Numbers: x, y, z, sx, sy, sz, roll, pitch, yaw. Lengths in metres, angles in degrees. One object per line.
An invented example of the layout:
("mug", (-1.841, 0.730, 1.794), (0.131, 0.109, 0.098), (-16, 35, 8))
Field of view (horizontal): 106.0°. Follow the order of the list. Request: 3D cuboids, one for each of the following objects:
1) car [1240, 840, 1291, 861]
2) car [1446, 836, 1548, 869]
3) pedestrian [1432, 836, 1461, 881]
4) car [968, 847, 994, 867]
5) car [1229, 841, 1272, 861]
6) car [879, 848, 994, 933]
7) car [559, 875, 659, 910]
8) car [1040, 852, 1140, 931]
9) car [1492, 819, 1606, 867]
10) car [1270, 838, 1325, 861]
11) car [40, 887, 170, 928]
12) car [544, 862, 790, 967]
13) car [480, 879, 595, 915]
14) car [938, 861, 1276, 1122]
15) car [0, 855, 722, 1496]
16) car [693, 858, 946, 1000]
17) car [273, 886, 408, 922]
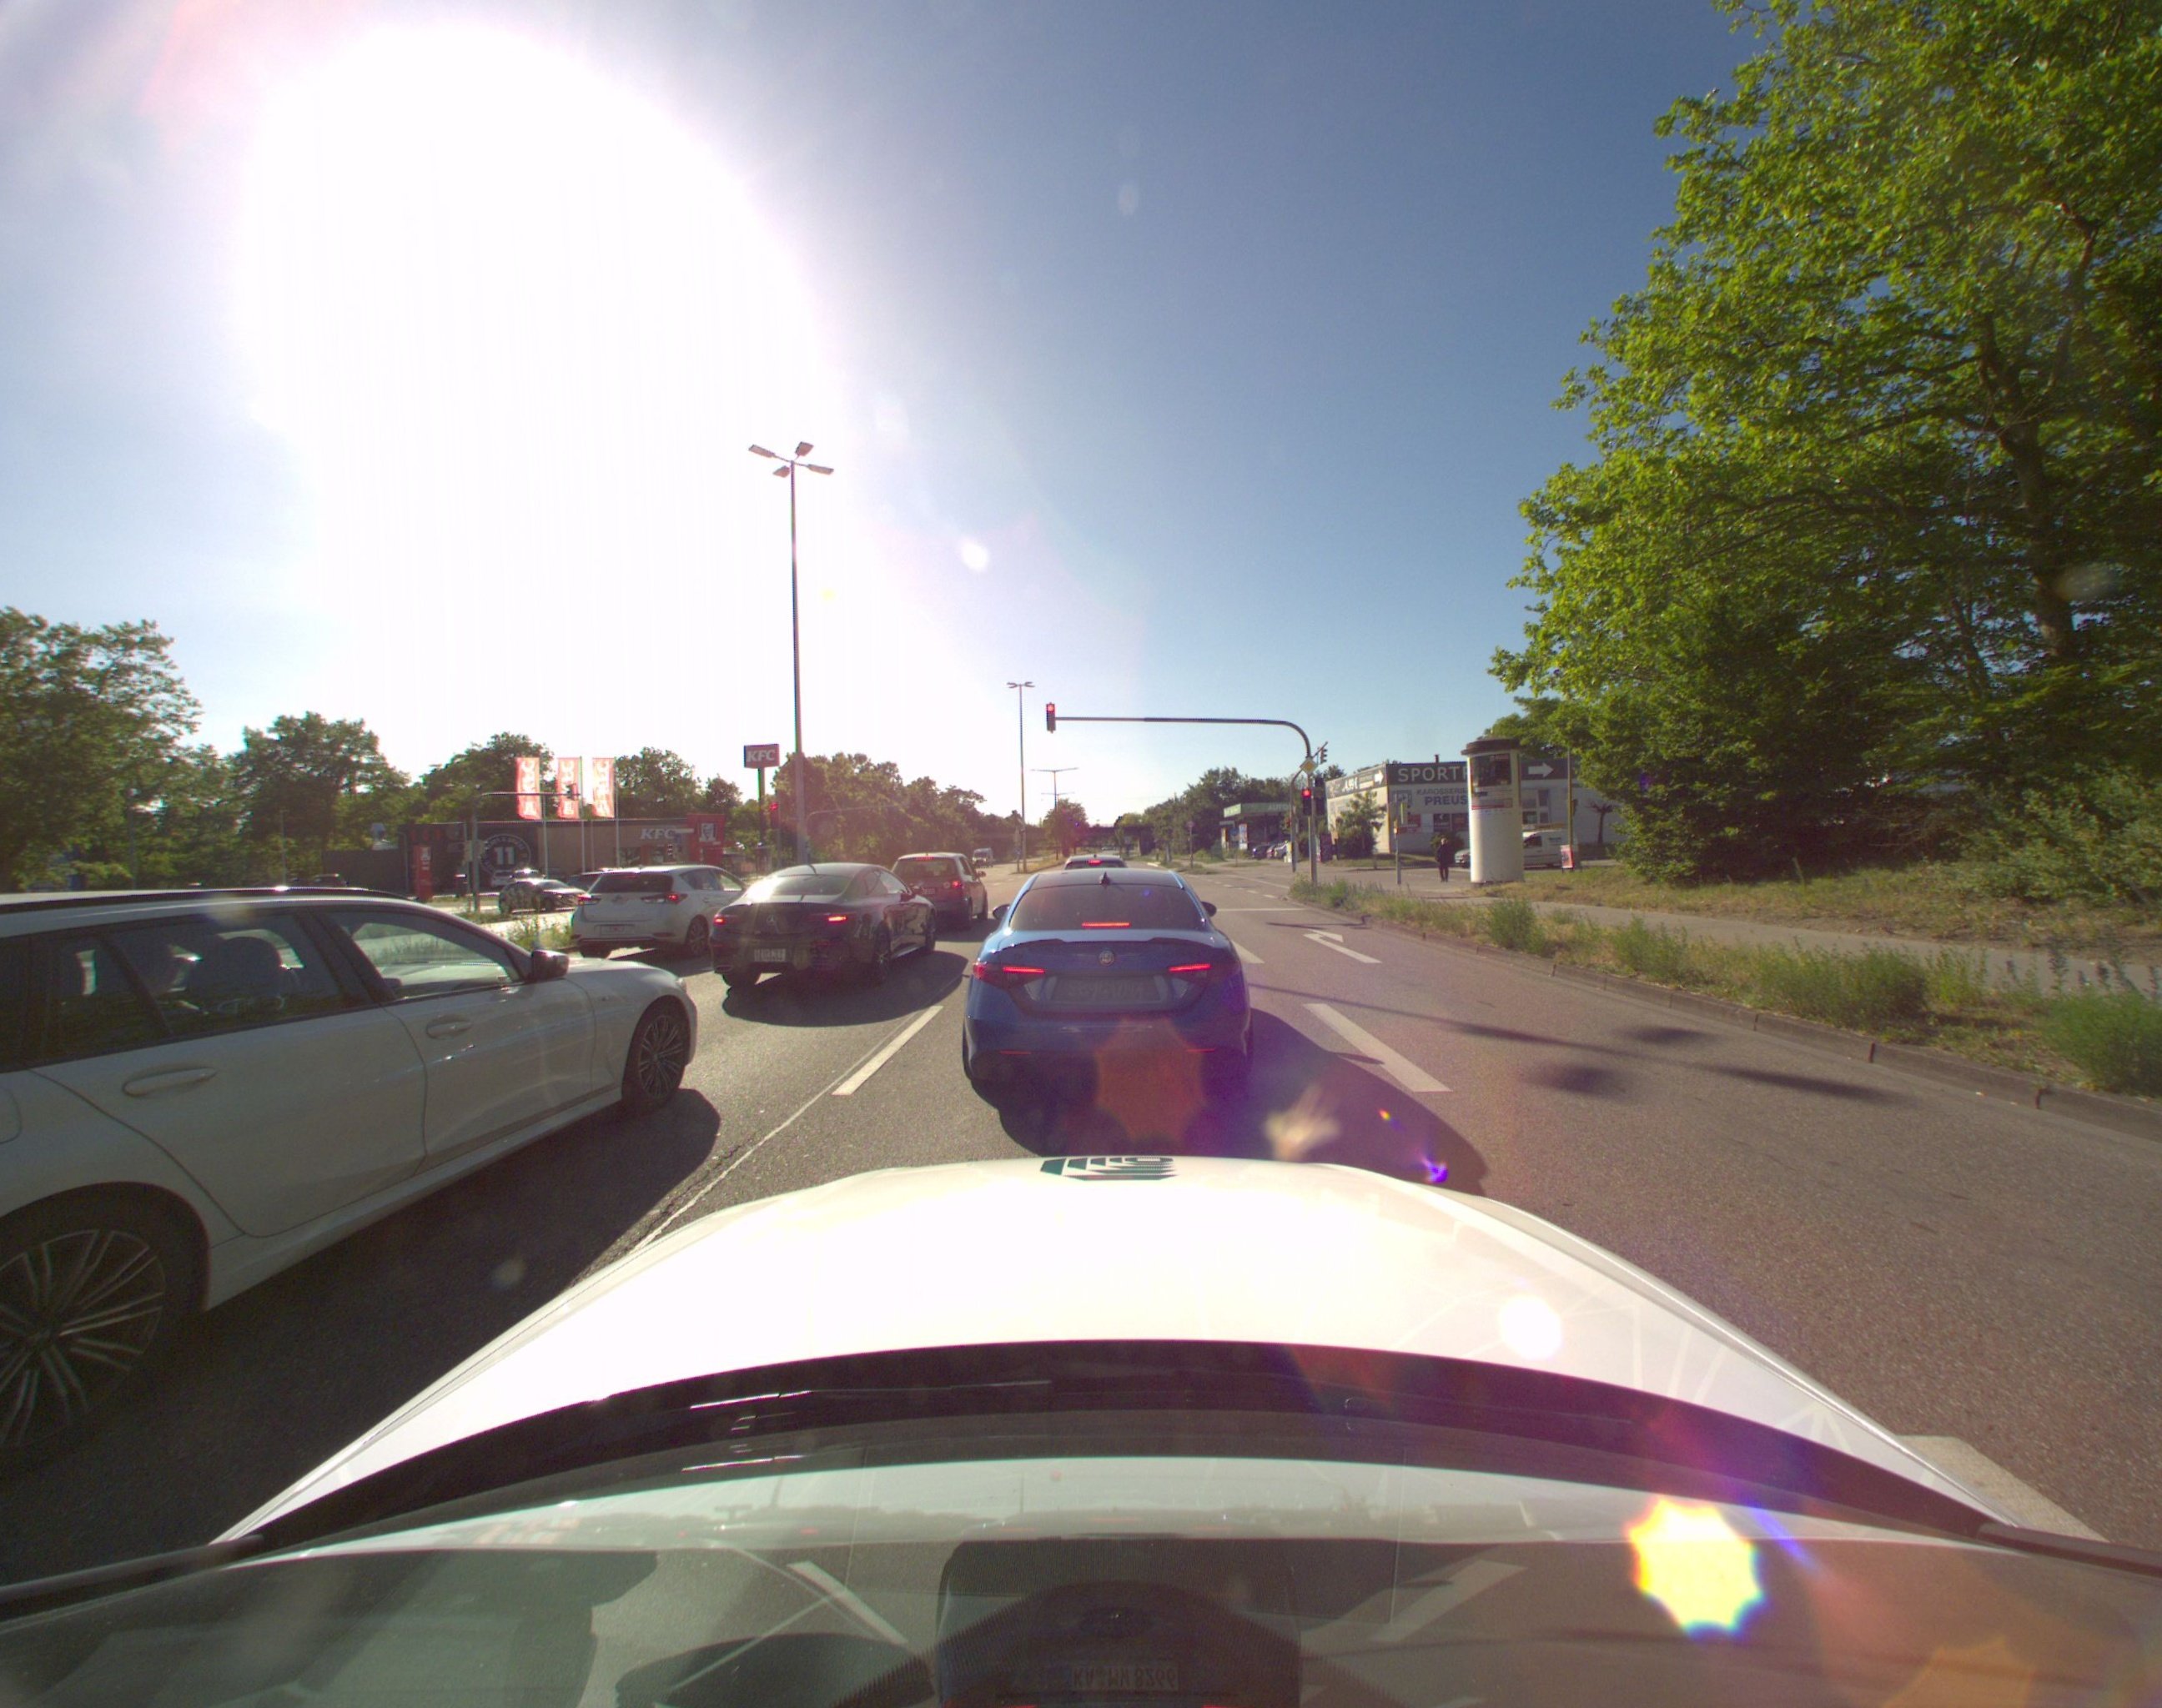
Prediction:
("car", (16.041, -0.292, 70.764), (3.997, 1.706, 1.685), (-1, 0, -18))
("car", (21.954, -0.083, 43.068), (4.393, 1.553, 1.999), (-1, 0, -2))
("pedestrian", (14.270, 0.177, 31.820), (0.818, 1.721, 0.856), (-2, 0, 9))
("car", (-12.907, 0.342, 105.756), (2.422, 2.427, 5.833), (-2, 0, 2))
("car", (15.384, -0.256, 73.972), (3.489, 1.706, 1.687), (-1, 0, -14))
("car", (-3.009, 0.696, 17.742), (1.642, 1.598, 3.933), (-1, 0, 2))
("car", (-24.202, 1.969, 41.858), (4.025, 1.595, 1.824), (-1, 0, -1))
("car", (0.233, 0.698, 17.200), (1.859, 1.450, 3.933), (-1, 0, 2))
("car", (22.632, -0.524, 39.470), (4.393, 2.145, 1.999), (-1, 0, -2))
("car", (17.511, -0.362, 65.870), (3.993, 1.706, 1.687), (-1, 0, -15))
("car", (-45.940, 2.498, 38.387), (3.972, 1.728, 1.759), (-1, 0, 1))
("car", (-6.809, 0.900, 14.051), (1.850, 1.429, 4.405), (-1, 0, 2))
("car", (-24.473, 1.942, 36.767), (4.017, 1.429, 1.827), (-1, 0, 5))
("car", (0.203, 0.784, 6.502), (1.859, 1.385, 3.933), (-1, 0, 2))
("car", (-3.429, 0.794, 3.364), (1.762, 1.509, 4.463), (-1, 0, 2))
("car", (-3.142, 0.809, 10.837), (1.762, 1.414, 4.463), (-1, 0, 2))
("car", (-34.847, 2.341, 38.418), (4.701, 1.429, 1.865), (-2, 0, 2))
